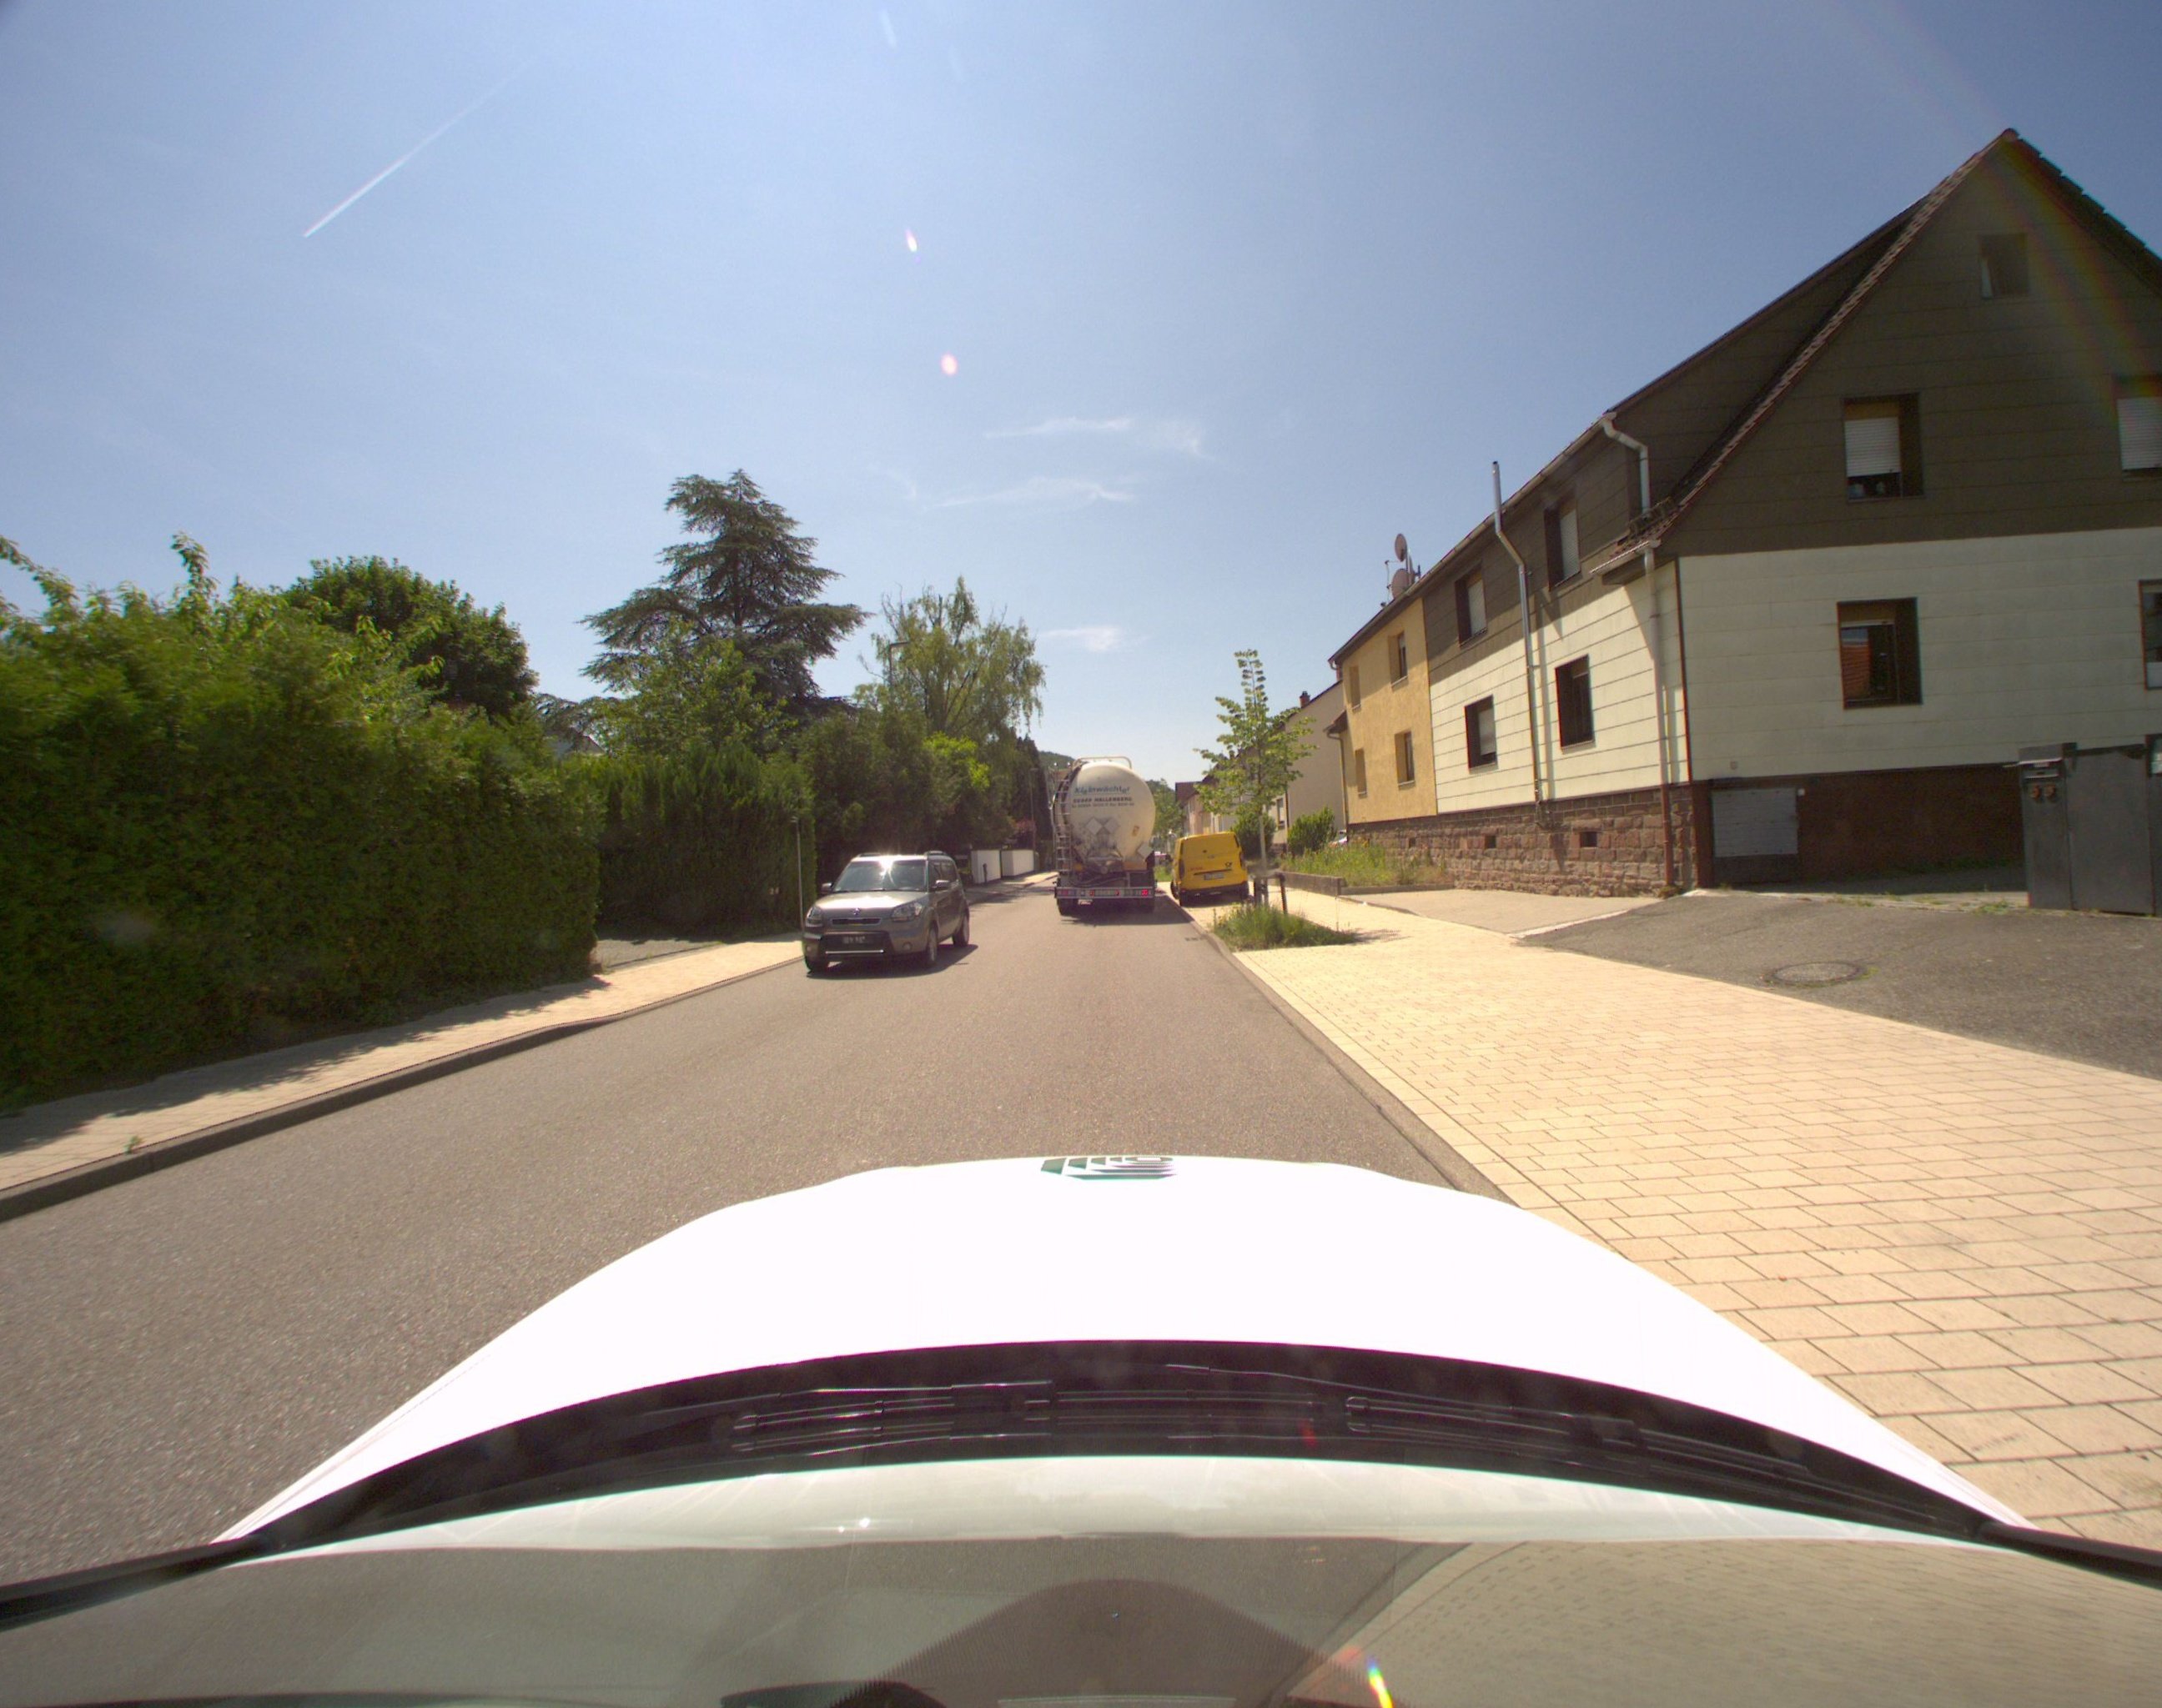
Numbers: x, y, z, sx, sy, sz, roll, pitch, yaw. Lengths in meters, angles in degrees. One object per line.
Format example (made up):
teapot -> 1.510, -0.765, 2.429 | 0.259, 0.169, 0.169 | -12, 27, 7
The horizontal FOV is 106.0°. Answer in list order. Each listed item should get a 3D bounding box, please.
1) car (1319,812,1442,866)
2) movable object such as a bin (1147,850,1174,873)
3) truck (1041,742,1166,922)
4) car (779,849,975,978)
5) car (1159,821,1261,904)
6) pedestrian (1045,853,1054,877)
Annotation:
car -> 11.591, -0.568, 31.718 | 3.974, 1.676, 1.874 | -6, 0, 0
movable object such as a bin -> 5.298, 0.484, 54.698 | 1.565, 1.416, 3.043 | -3, -1, 2
truck -> 0.777, -0.514, 24.166 | 2.739, 4.056, 10.897 | -2, 0, 3
car -> -2.922, 0.765, 12.627 | 1.860, 1.652, 3.951 | -1, 0, 2
car -> 3.780, 0.274, 25.002 | 2.182, 2.013, 5.624 | -7, -1, 2
pedestrian -> -2.720, 0.924, 69.969 | 0.718, 2.014, 0.804 | -1, -1, 2
